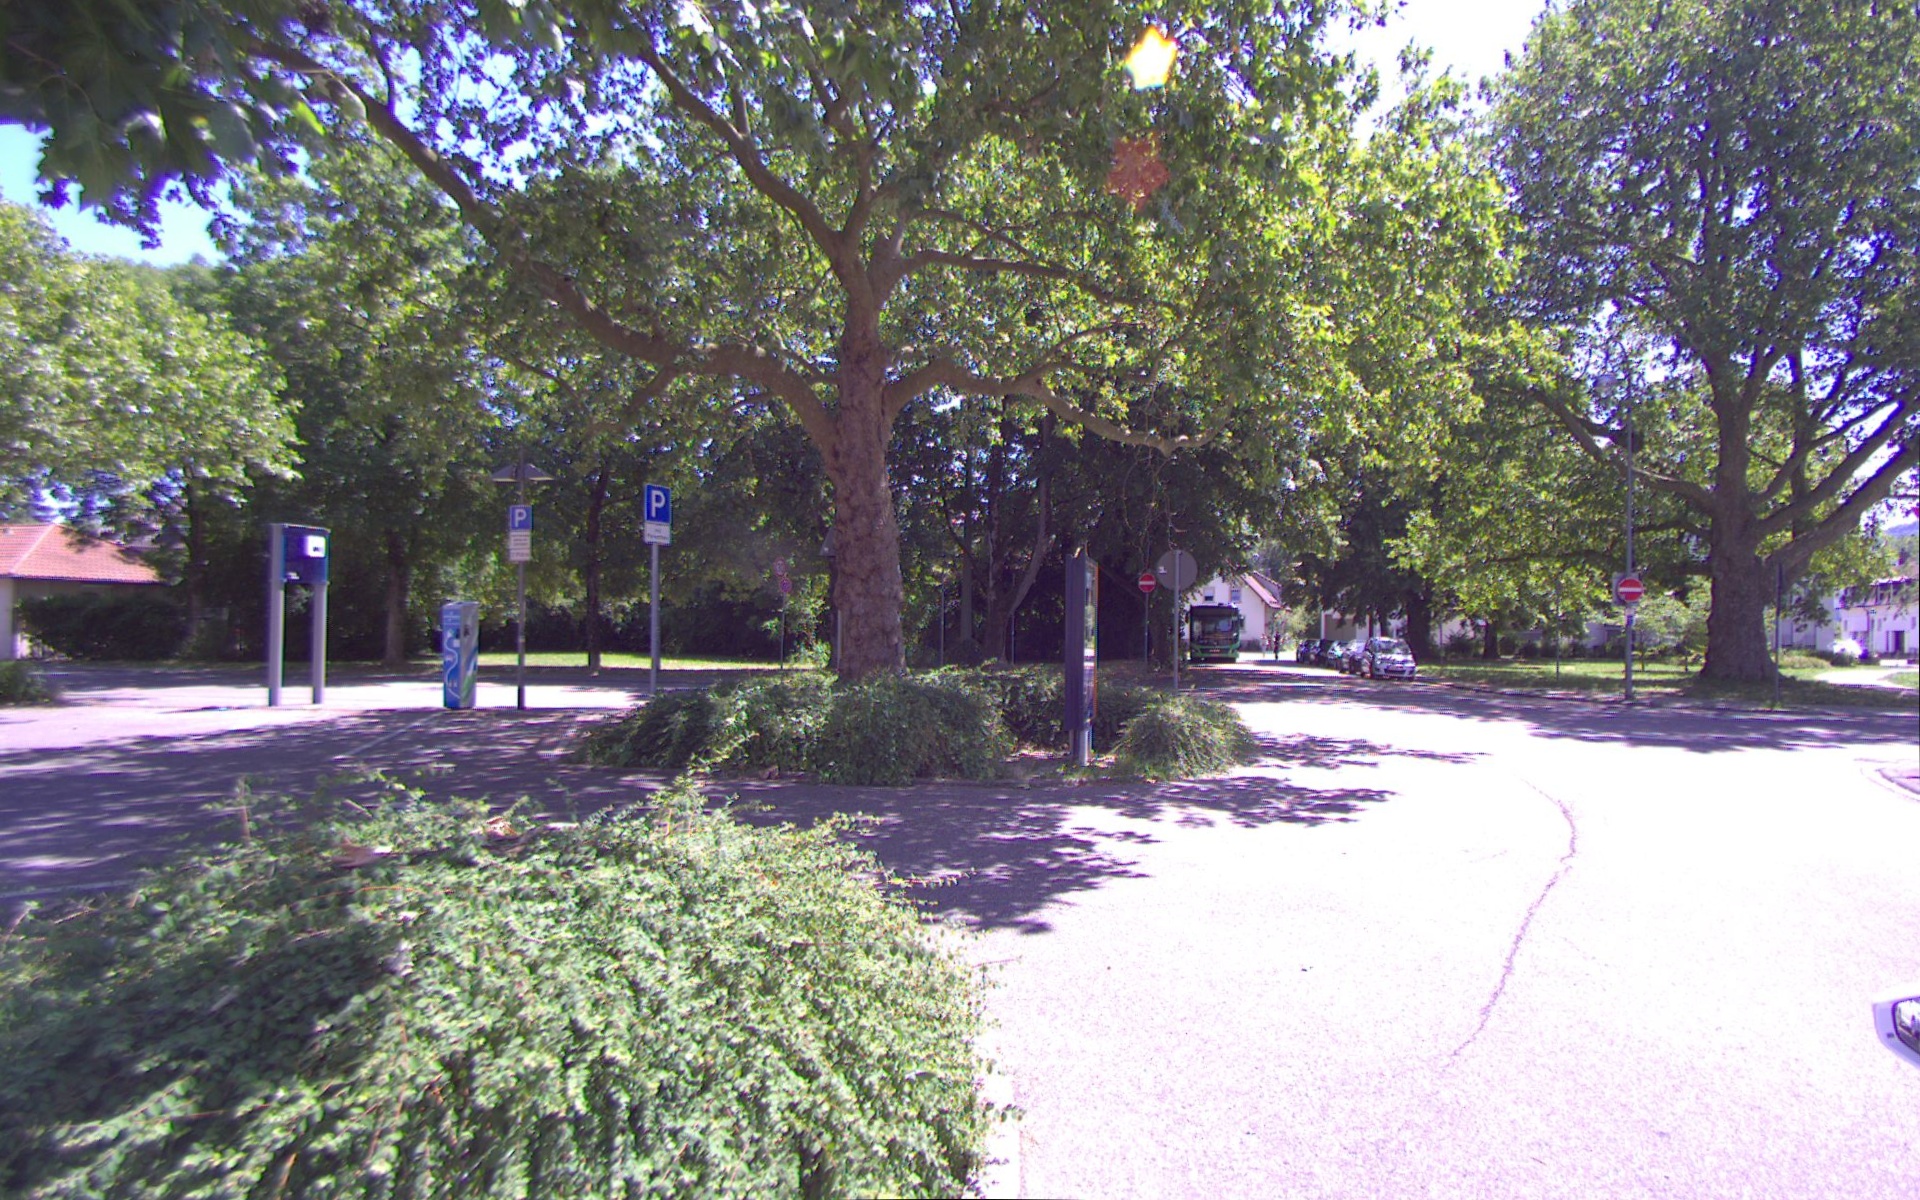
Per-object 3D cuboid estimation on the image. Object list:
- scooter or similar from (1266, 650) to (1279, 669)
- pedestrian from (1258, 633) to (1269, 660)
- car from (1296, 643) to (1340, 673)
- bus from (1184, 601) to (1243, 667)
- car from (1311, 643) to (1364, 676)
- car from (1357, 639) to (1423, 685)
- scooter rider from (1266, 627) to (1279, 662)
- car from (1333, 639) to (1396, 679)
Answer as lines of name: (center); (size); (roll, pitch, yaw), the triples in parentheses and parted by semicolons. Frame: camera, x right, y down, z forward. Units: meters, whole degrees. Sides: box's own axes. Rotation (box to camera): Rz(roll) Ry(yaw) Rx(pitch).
scooter or similar: (20.730, 3.946, 66.639); (0.726, 1.198, 1.520); (0, -2, 14)
pedestrian: (20.980, 3.186, 69.423); (0.708, 1.826, 0.941); (0, -1, 18)
car: (19.524, 3.117, 54.875); (1.724, 1.512, 3.921); (1, -2, 12)
bus: (14.614, 2.011, 58.804); (2.819, 3.338, 15.963); (1, -2, 12)
car: (18.152, 2.822, 48.428); (1.720, 1.458, 4.773); (1, -2, 13)
car: (15.679, 2.227, 36.779); (1.567, 1.517, 3.488); (2, -1, 13)
scooter rider: (20.749, 2.942, 66.672); (0.726, 2.348, 0.927); (0, -1, 14)
car: (16.854, 2.418, 42.042); (1.720, 1.458, 4.506); (2, -1, 13)
